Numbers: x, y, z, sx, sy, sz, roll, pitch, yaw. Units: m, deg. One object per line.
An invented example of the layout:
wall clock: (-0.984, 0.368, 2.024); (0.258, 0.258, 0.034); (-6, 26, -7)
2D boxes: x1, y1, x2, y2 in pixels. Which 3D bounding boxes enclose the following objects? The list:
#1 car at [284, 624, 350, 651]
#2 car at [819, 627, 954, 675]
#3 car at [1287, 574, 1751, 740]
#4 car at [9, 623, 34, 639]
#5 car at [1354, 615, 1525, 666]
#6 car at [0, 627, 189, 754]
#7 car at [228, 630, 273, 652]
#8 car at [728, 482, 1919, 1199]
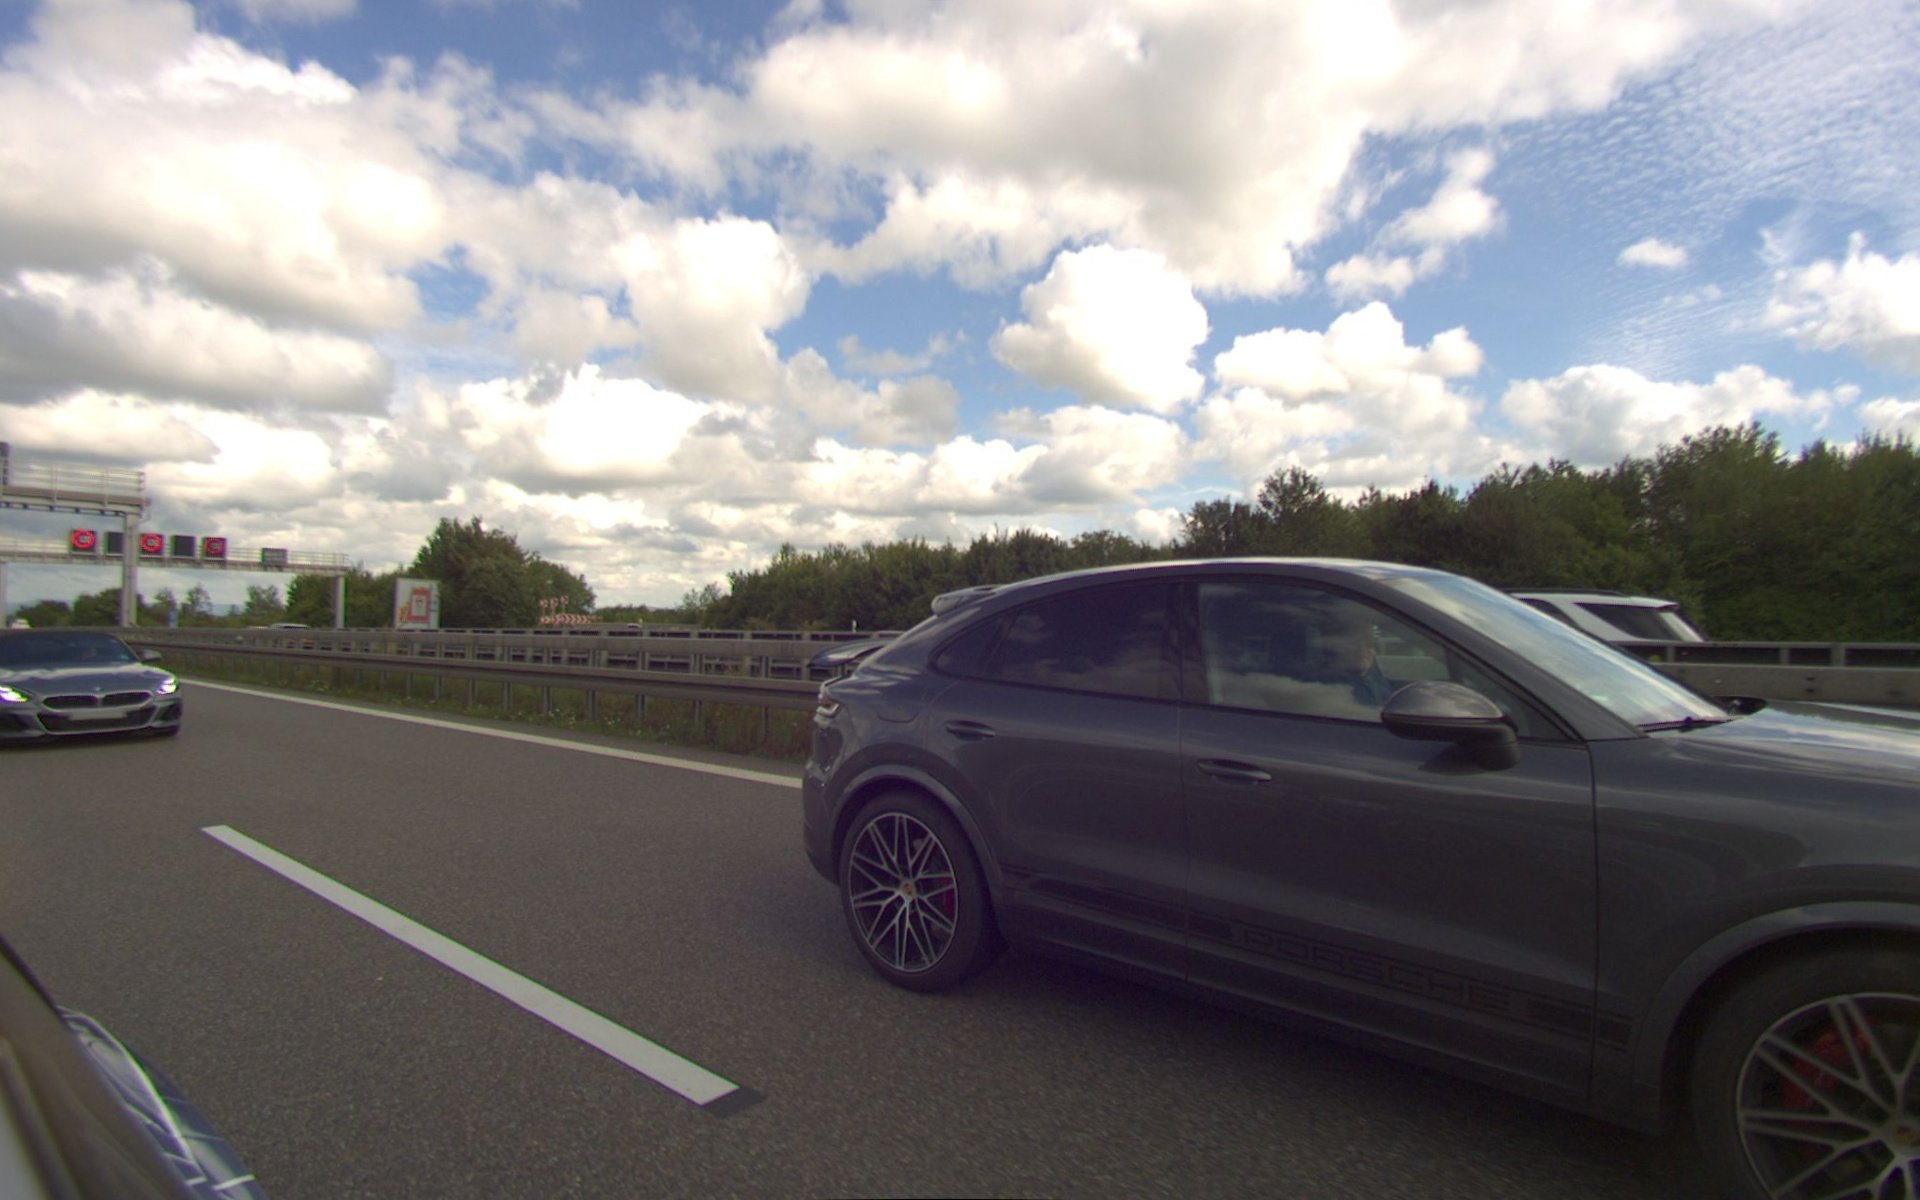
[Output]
car: (-30.786, 1.782, 48.431); (4.111, 1.229, 1.509); (-1, -1, 40)
car: (-2.123, 1.399, 28.717); (3.873, 1.229, 1.509); (-1, -1, 40)
car: (5.991, 0.545, 11.178); (4.200, 1.491, 1.716); (-1, -1, 43)
car: (-134.401, 4.448, 144.880); (4.574, 2.301, 1.978); (-1, -1, 39)
car: (16.350, 1.349, 34.700); (5.007, 1.648, 1.791); (-1, -2, 43)
car: (-11.602, 1.016, 12.900); (4.939, 1.312, 1.854); (-1, -1, 41)
car: (-47.726, 2.732, 68.052); (3.873, 1.413, 1.509); (-1, -1, 40)
car: (1.658, 0.617, 3.404); (5.497, 1.648, 1.892); (-1, -1, 41)
